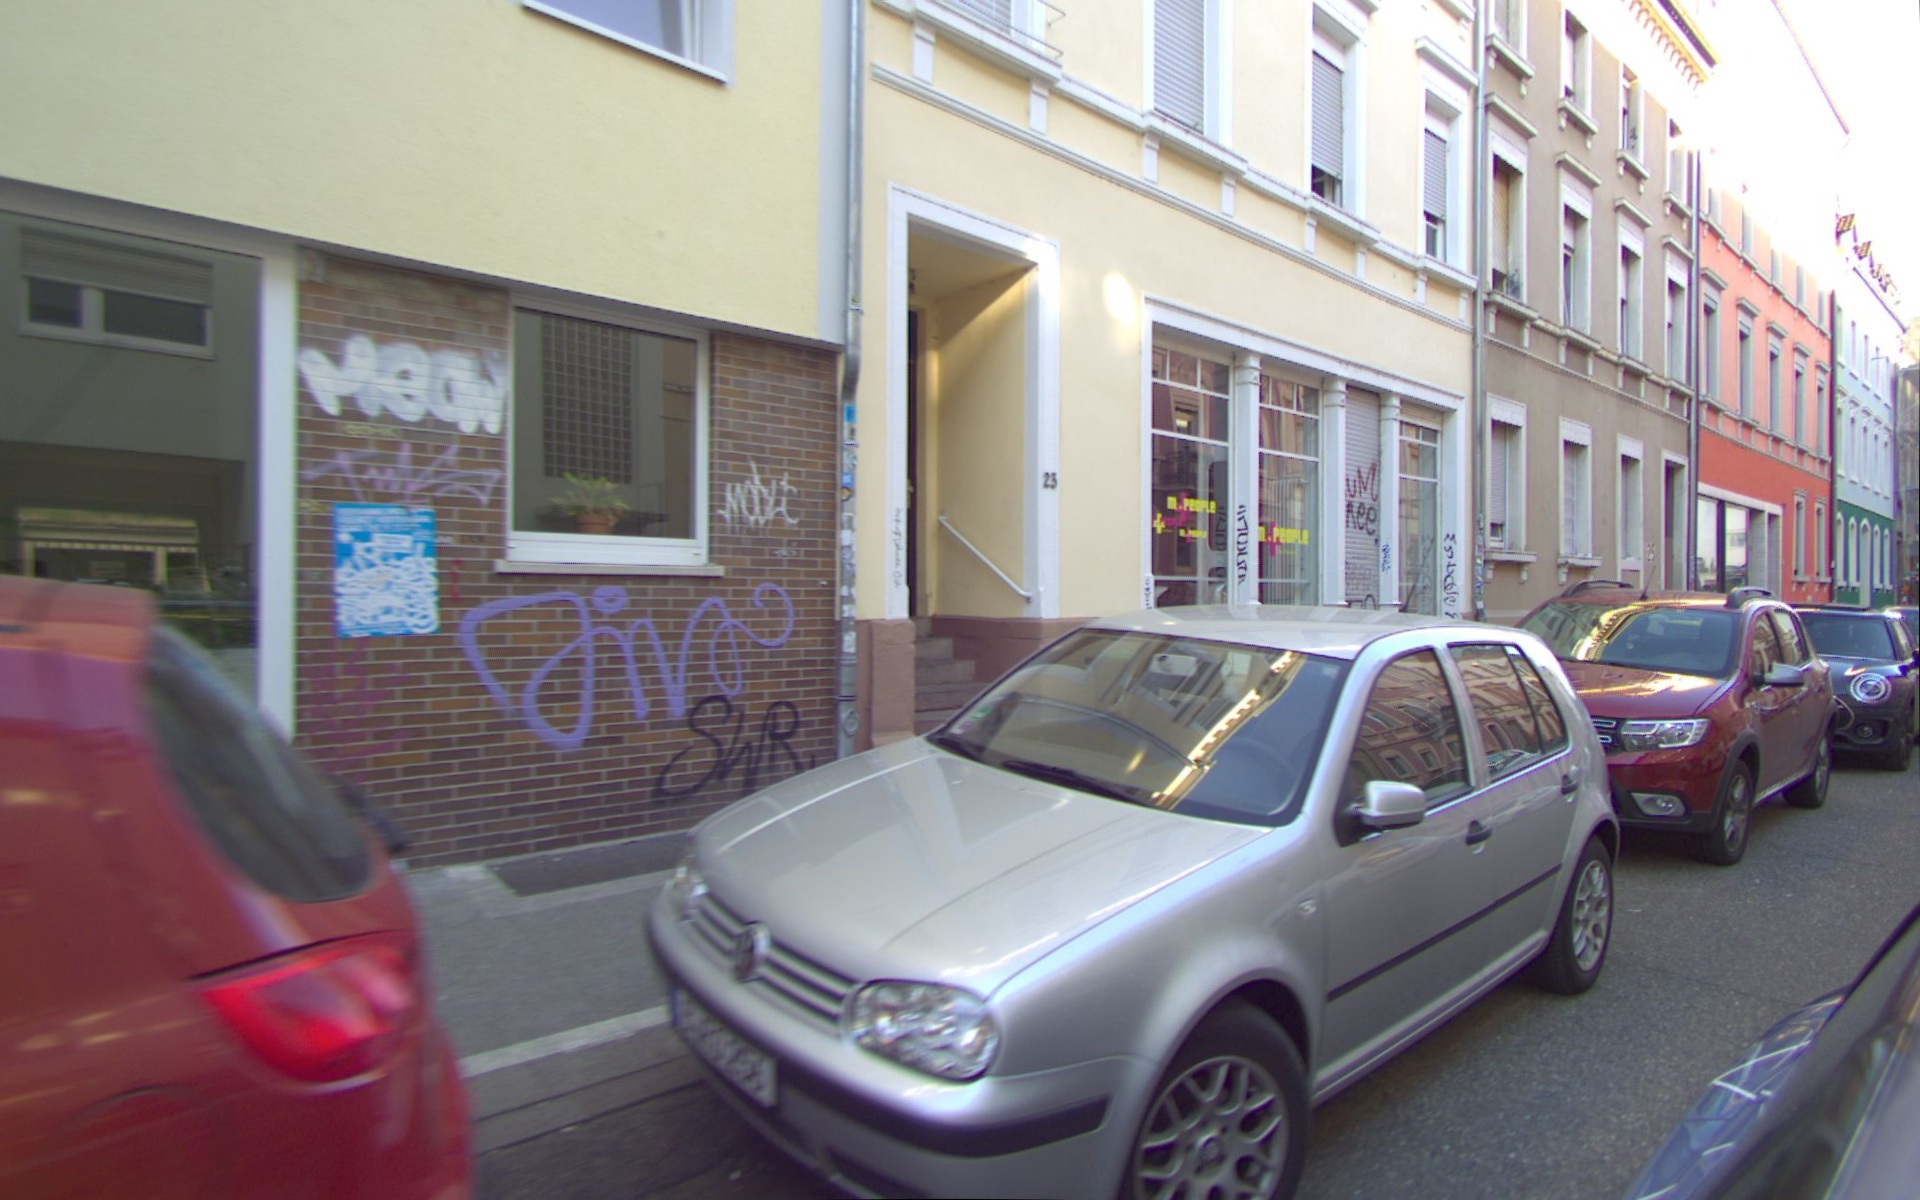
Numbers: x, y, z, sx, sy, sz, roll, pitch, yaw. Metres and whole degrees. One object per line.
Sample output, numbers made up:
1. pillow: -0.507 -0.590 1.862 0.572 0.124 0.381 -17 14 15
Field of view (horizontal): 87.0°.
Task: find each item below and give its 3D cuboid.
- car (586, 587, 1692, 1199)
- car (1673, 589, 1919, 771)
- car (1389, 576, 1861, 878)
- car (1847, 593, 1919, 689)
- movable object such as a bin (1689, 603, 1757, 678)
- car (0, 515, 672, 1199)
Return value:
1. car: 1.035 0.726 3.611 4.121 1.471 1.691 0 2 -42
2. car: 9.181 0.672 10.649 4.303 1.541 1.764 0 0 -41
3. car: 4.883 0.640 7.224 3.929 1.570 1.793 0 1 -40
4. car: 16.816 0.650 17.358 4.386 1.501 1.830 0 1 -41
5. movable object such as a bin: 12.188 0.637 16.172 0.630 1.122 0.717 1 2 -40
6. car: -2.442 0.661 0.795 3.909 1.542 1.701 0 2 -40
